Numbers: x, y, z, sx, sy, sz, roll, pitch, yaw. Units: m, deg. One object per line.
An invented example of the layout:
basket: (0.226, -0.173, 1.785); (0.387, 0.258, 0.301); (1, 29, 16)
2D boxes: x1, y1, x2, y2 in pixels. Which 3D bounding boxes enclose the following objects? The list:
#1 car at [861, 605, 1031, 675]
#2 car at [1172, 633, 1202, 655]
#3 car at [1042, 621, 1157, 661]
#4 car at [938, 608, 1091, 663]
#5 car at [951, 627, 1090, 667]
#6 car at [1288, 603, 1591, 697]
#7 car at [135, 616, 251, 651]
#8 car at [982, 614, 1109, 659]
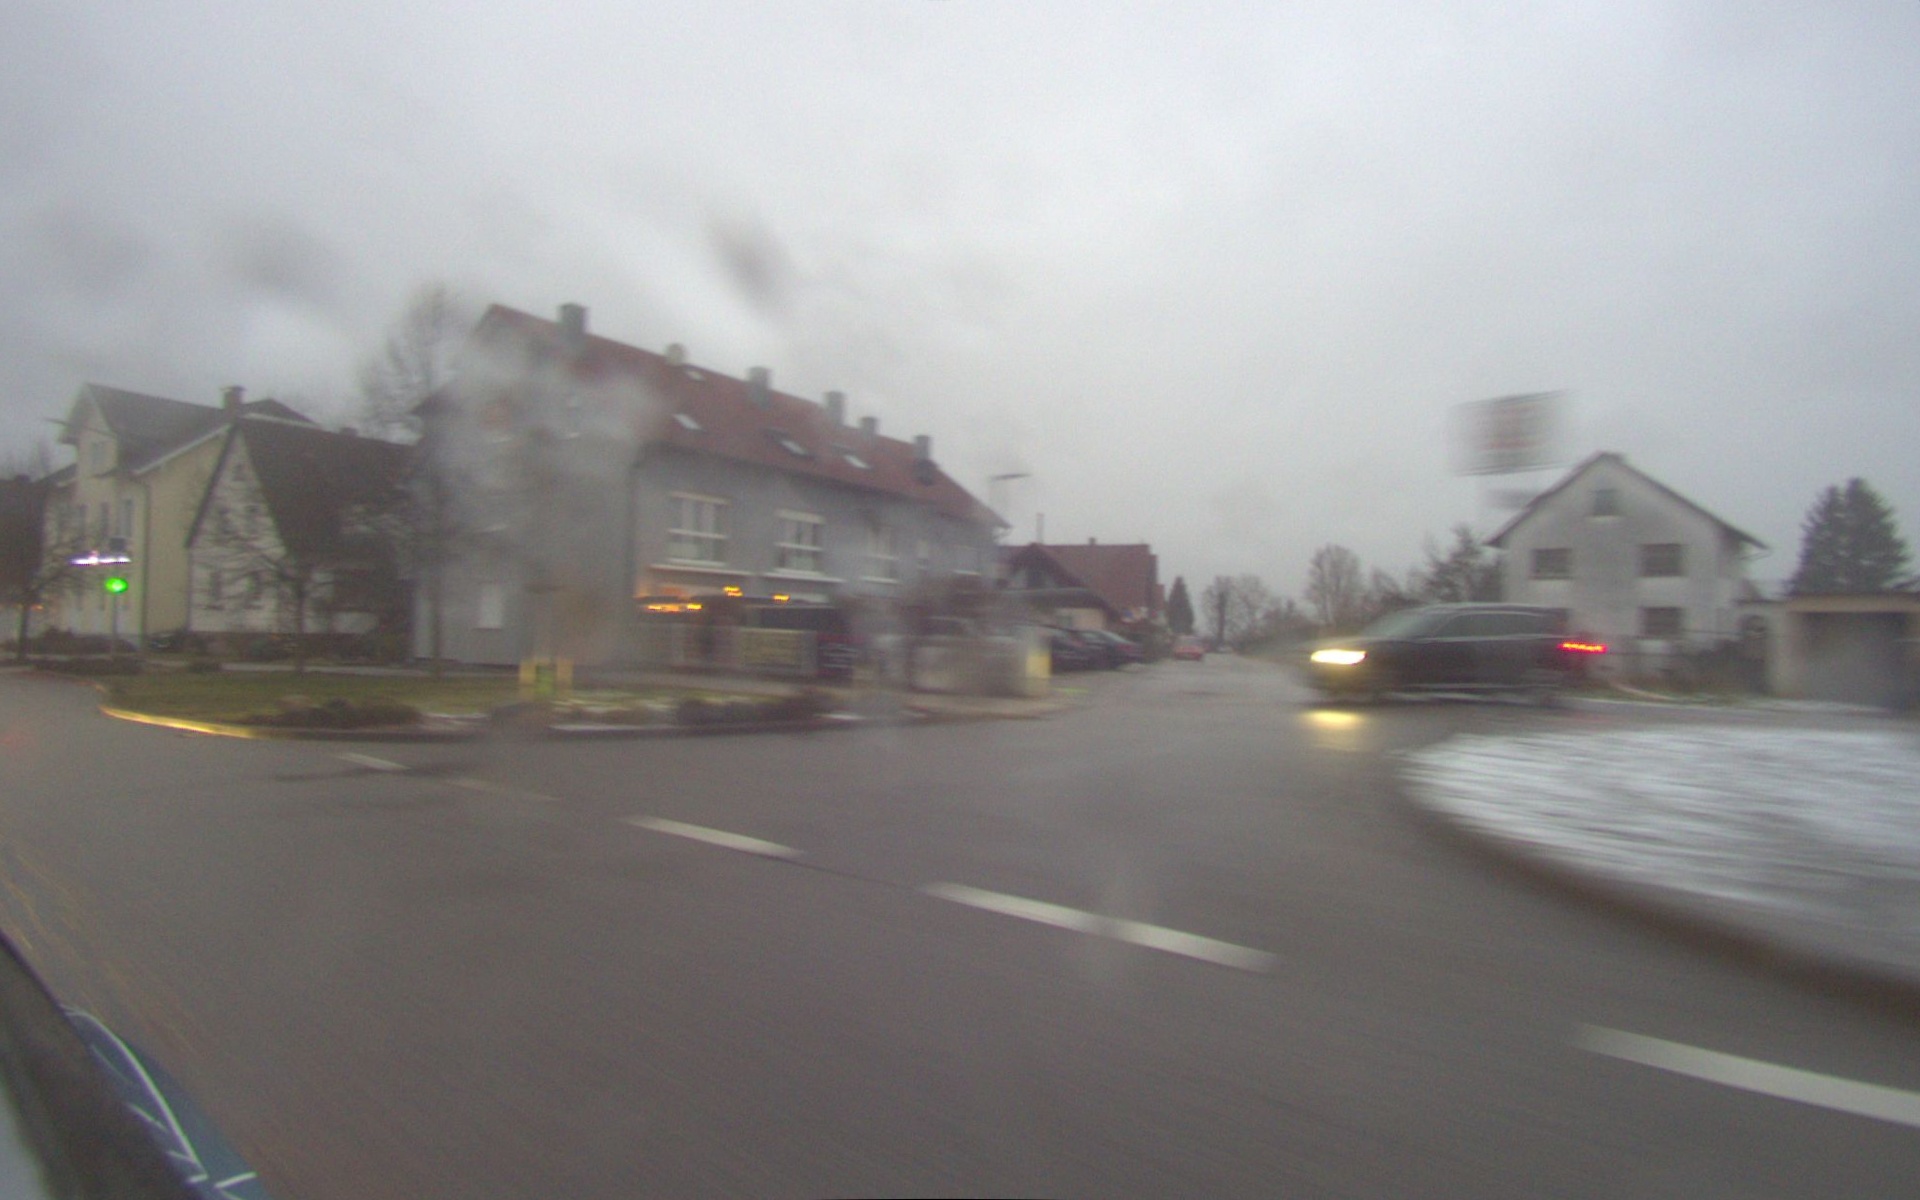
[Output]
car: (-0.396, 0.999, 26.016); (3.991, 1.663, 1.976); (-1, -1, 36)
car: (13.822, 2.647, 61.448); (1.715, 1.214, 3.982); (-1, -1, 14)
car: (5.117, 1.484, 36.985); (3.962, 1.413, 1.990); (-1, -1, 15)
car: (1.536, 0.994, 29.037); (3.986, 1.479, 1.878); (-1, -1, 32)
car: (1.922, 1.462, 32.084); (3.976, 1.176, 1.984); (-1, -1, 24)
car: (7.784, 0.806, 16.672); (4.277, 1.449, 1.392); (0, -1, 1)
car: (-36.549, 1.612, 48.344); (1.914, 1.612, 3.959); (0, -2, 30)
car: (2.940, 1.236, 34.761); (3.973, 1.479, 1.884); (-1, -1, 22)
